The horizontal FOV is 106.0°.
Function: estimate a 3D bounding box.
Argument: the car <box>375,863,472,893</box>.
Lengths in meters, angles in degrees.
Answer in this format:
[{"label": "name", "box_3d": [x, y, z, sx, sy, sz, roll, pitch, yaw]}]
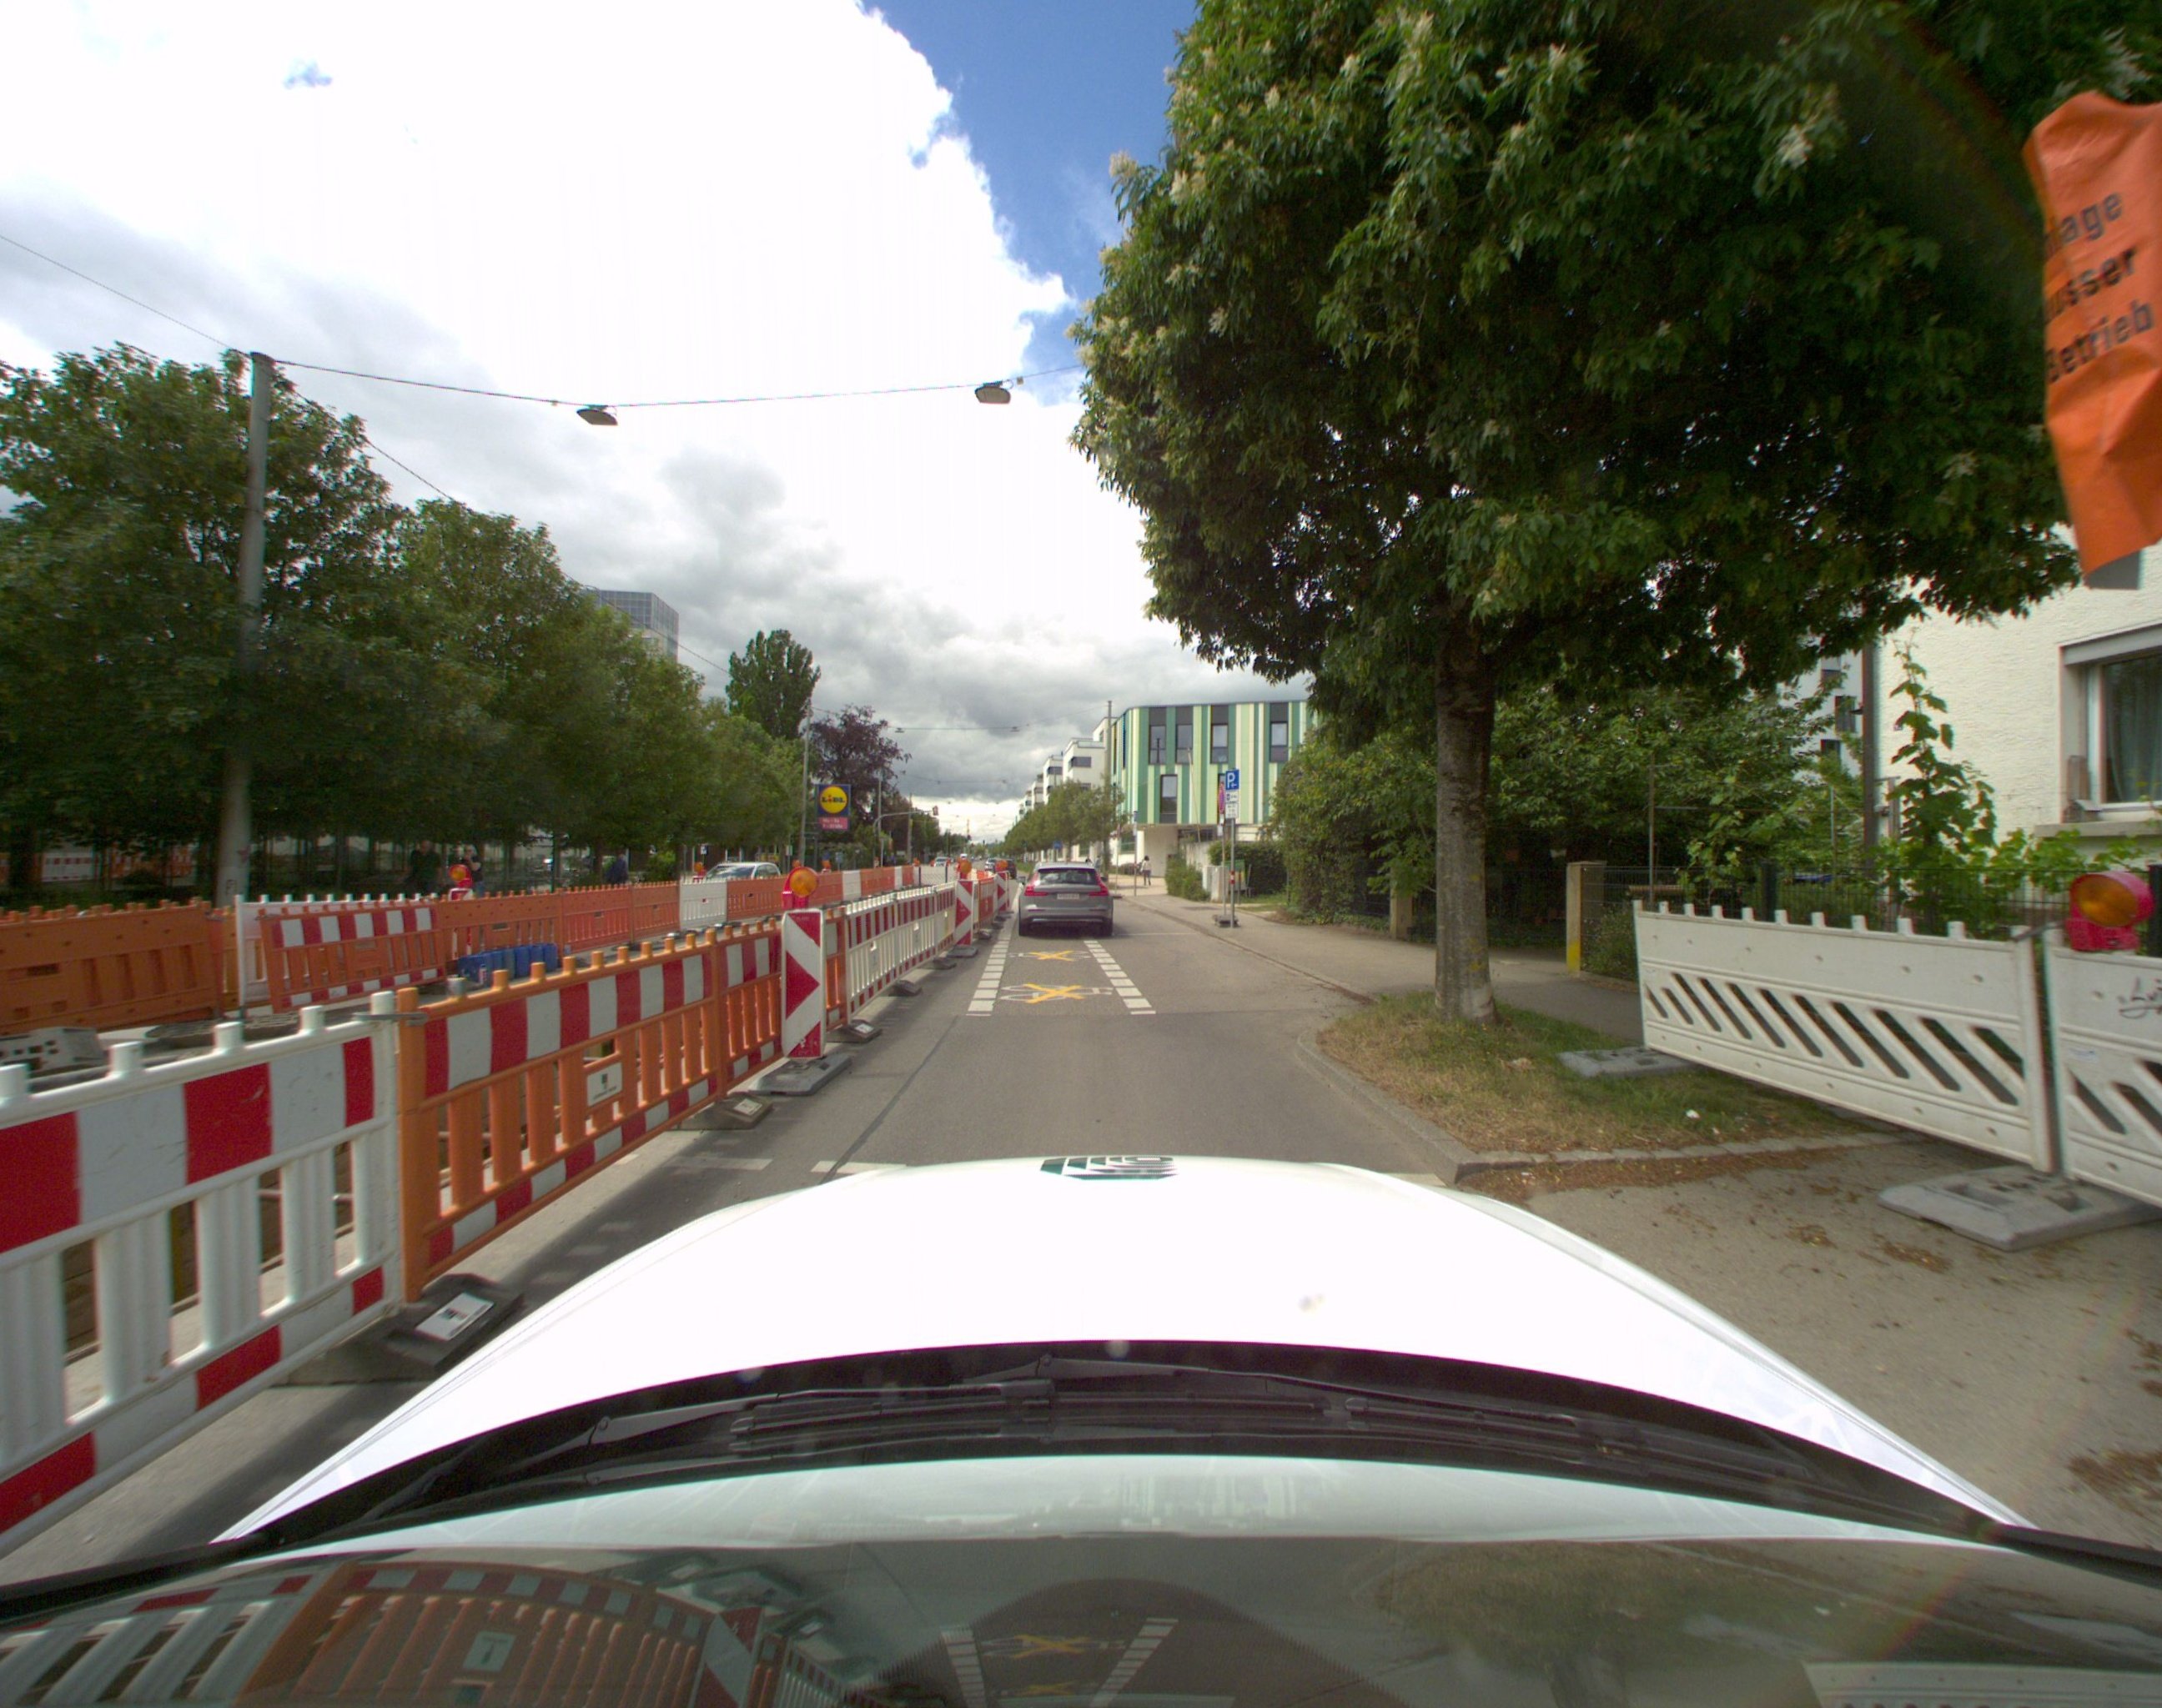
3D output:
[{"label": "car", "box_3d": [-36.181, 1.257, 44.980, 1.992, 1.572, 4.660, 0, -1, -8]}]

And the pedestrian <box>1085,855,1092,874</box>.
[{"label": "pedestrian", "box_3d": [0.671, 0.943, 73.741, 0.604, 1.655, 0.550, 0, -1, -8]}]

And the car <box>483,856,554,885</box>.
[{"label": "car", "box_3d": [-34.826, 0.977, 50.547, 1.992, 1.695, 3.990, 0, 0, -7]}]

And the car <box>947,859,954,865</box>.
[{"label": "car", "box_3d": [-33.980, 2.059, 211.727, 1.659, 1.515, 3.990, 1, 0, -7]}]

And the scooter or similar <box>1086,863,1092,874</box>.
[{"label": "scooter or similar", "box_3d": [0.737, 1.298, 73.240, 0.421, 0.905, 0.680, 0, 0, -7]}]

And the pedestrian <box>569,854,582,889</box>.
[{"label": "pedestrian", "box_3d": [-27.117, 0.946, 43.702, 0.421, 1.859, 0.610, 0, 0, -10]}]

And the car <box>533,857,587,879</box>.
[{"label": "car", "box_3d": [-38.462, 1.012, 60.258, 1.994, 1.552, 3.985, 0, 0, -11]}]

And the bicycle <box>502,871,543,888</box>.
[{"label": "bicycle", "box_3d": [-31.607, 1.428, 46.112, 1.890, 0.957, 0.345, 0, 0, -30]}]

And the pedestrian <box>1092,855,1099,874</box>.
[{"label": "pedestrian", "box_3d": [1.305, 0.925, 72.917, 0.550, 1.655, 0.605, 0, -1, -8]}]

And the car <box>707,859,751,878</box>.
[{"label": "car", "box_3d": [-26.815, 1.087, 62.143, 1.992, 1.453, 3.990, 0, 0, -7]}]

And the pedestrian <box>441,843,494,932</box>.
[{"label": "pedestrian", "box_3d": [-13.051, 0.704, 17.338, 0.689, 1.847, 0.626, 0, -1, 21]}]

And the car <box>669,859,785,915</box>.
[{"label": "car", "box_3d": [-10.074, 0.886, 23.506, 1.851, 1.453, 3.993, 1, 0, -5]}]

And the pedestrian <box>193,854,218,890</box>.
[{"label": "pedestrian", "box_3d": [-40.343, 0.825, 37.520, 0.504, 1.616, 0.605, 0, -1, -8]}]

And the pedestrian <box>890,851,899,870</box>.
[{"label": "pedestrian", "box_3d": [-17.721, 0.613, 77.397, 0.681, 1.854, 0.890, 0, -1, -7]}]

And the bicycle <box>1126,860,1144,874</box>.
[{"label": "bicycle", "box_3d": [4.248, 1.022, 64.115, 1.469, 1.046, 0.305, 0, 0, -20]}]

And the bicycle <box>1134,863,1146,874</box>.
[{"label": "bicycle", "box_3d": [4.567, 1.120, 63.071, 1.030, 0.842, 0.303, 0, 0, -40]}]

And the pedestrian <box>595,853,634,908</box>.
[{"label": "pedestrian", "box_3d": [-13.727, 0.769, 23.988, 0.752, 1.603, 0.827, 0, -1, -10]}]

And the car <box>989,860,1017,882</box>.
[{"label": "car", "box_3d": [-5.773, 1.225, 60.190, 1.853, 1.513, 3.989, 2, 0, -8]}]

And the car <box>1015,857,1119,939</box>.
[{"label": "car", "box_3d": [-0.412, 0.819, 17.228, 1.852, 1.513, 3.992, 0, 0, -6]}]

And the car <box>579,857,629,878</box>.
[{"label": "car", "box_3d": [-36.082, 0.995, 61.707, 1.994, 1.552, 3.985, 0, 0, -11]}]

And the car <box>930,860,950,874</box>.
[{"label": "car", "box_3d": [-16.634, 1.526, 96.414, 1.850, 1.513, 3.995, 0, 0, -3]}]

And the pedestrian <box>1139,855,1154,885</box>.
[{"label": "pedestrian", "box_3d": [3.435, 0.834, 42.800, 0.580, 1.551, 0.866, 0, -1, -7]}]

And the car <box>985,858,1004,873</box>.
[{"label": "car", "box_3d": [-9.192, 1.206, 86.024, 1.843, 1.513, 3.989, 2, 0, -8]}]

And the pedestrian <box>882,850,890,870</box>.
[{"label": "pedestrian", "box_3d": [-18.489, 0.594, 77.197, 0.681, 1.854, 0.705, 0, -1, -7]}]

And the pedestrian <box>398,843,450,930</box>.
[{"label": "pedestrian", "box_3d": [-14.185, 0.686, 17.589, 0.620, 1.847, 0.626, 0, -1, 21]}]

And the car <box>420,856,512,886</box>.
[{"label": "car", "box_3d": [-33.680, 0.903, 44.785, 1.992, 1.572, 4.660, 0, -1, -8]}]
